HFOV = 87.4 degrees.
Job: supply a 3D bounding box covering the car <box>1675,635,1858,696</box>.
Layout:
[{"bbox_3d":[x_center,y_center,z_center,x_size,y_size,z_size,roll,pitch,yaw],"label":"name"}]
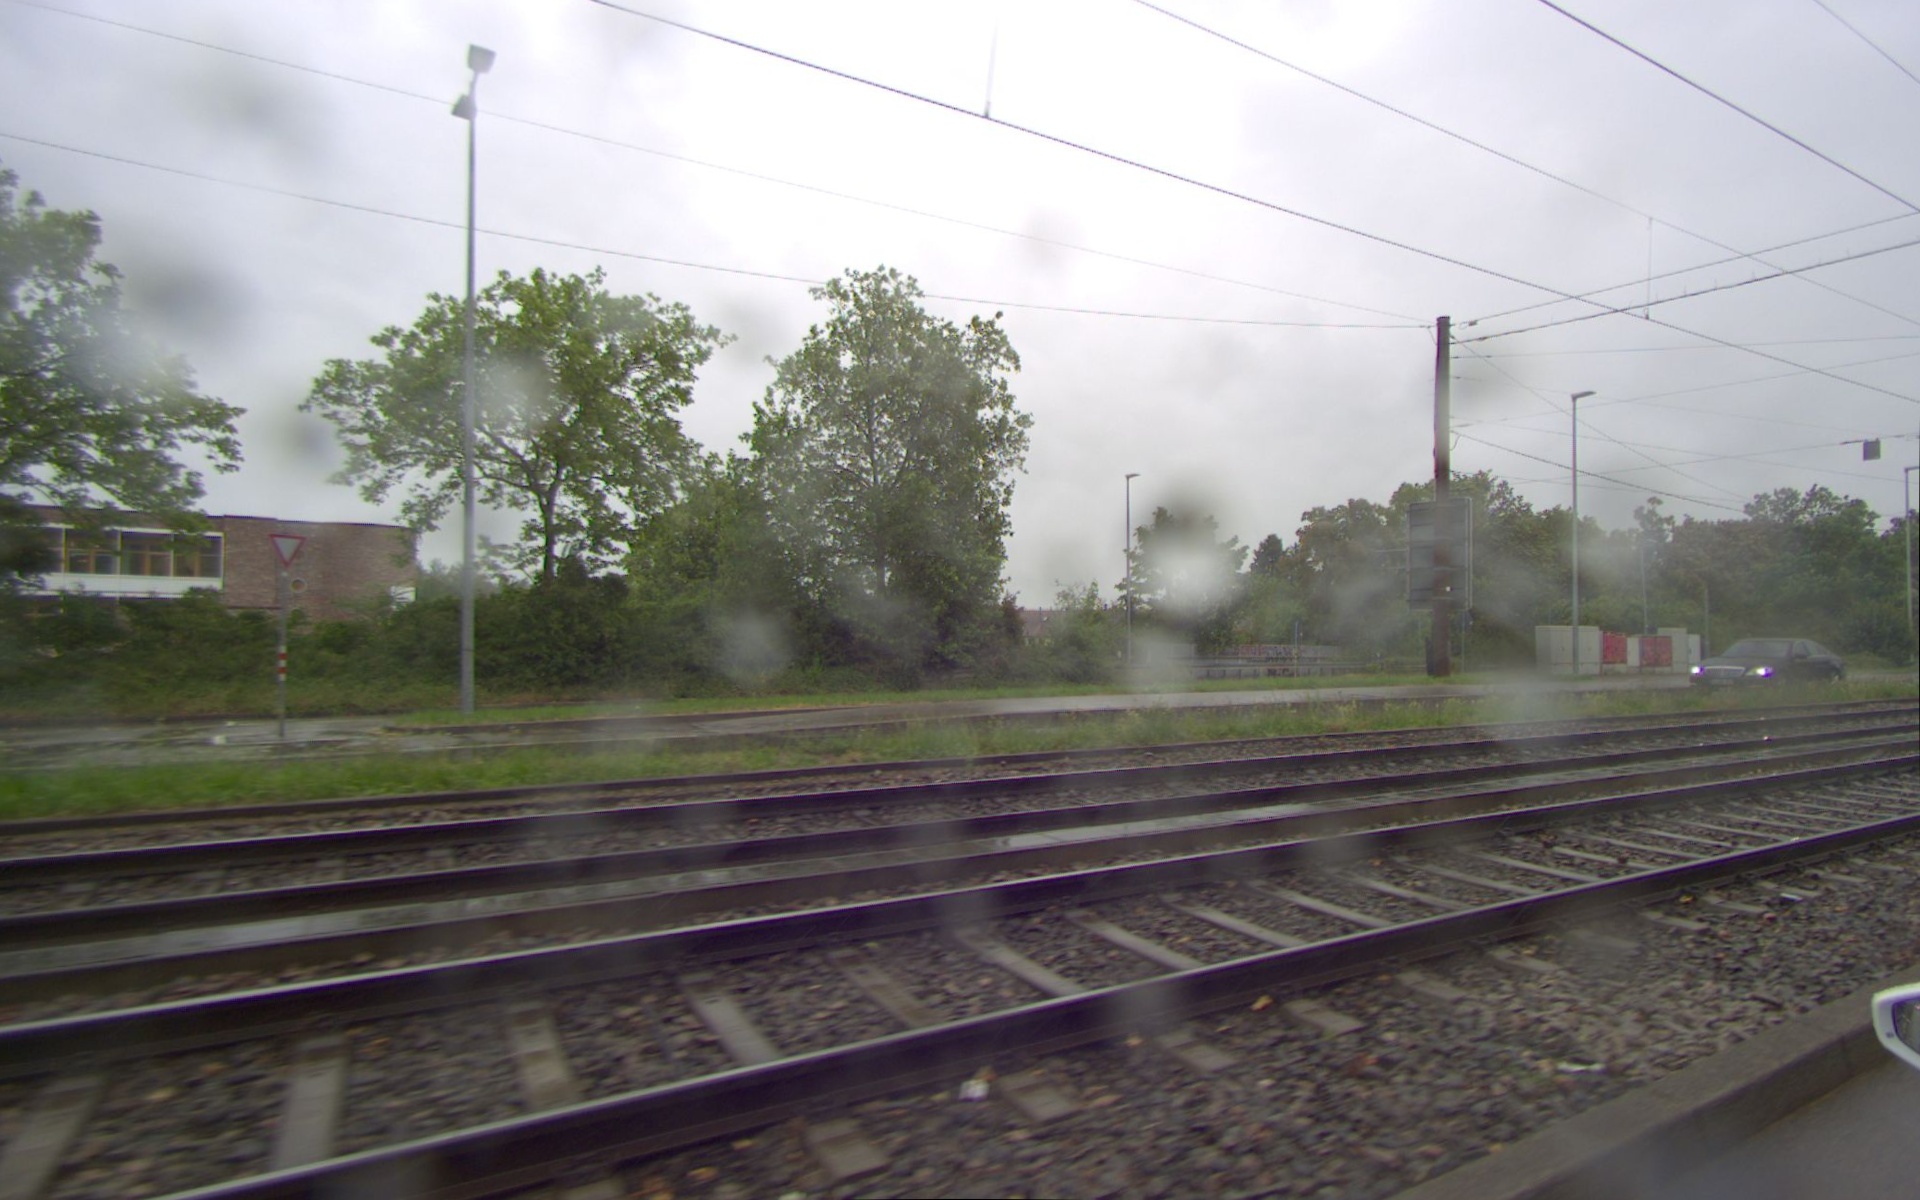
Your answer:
[{"bbox_3d":[21.008,1.645,26.105,5.323,1.423,1.984,1,-2,-31],"label":"car"}]
